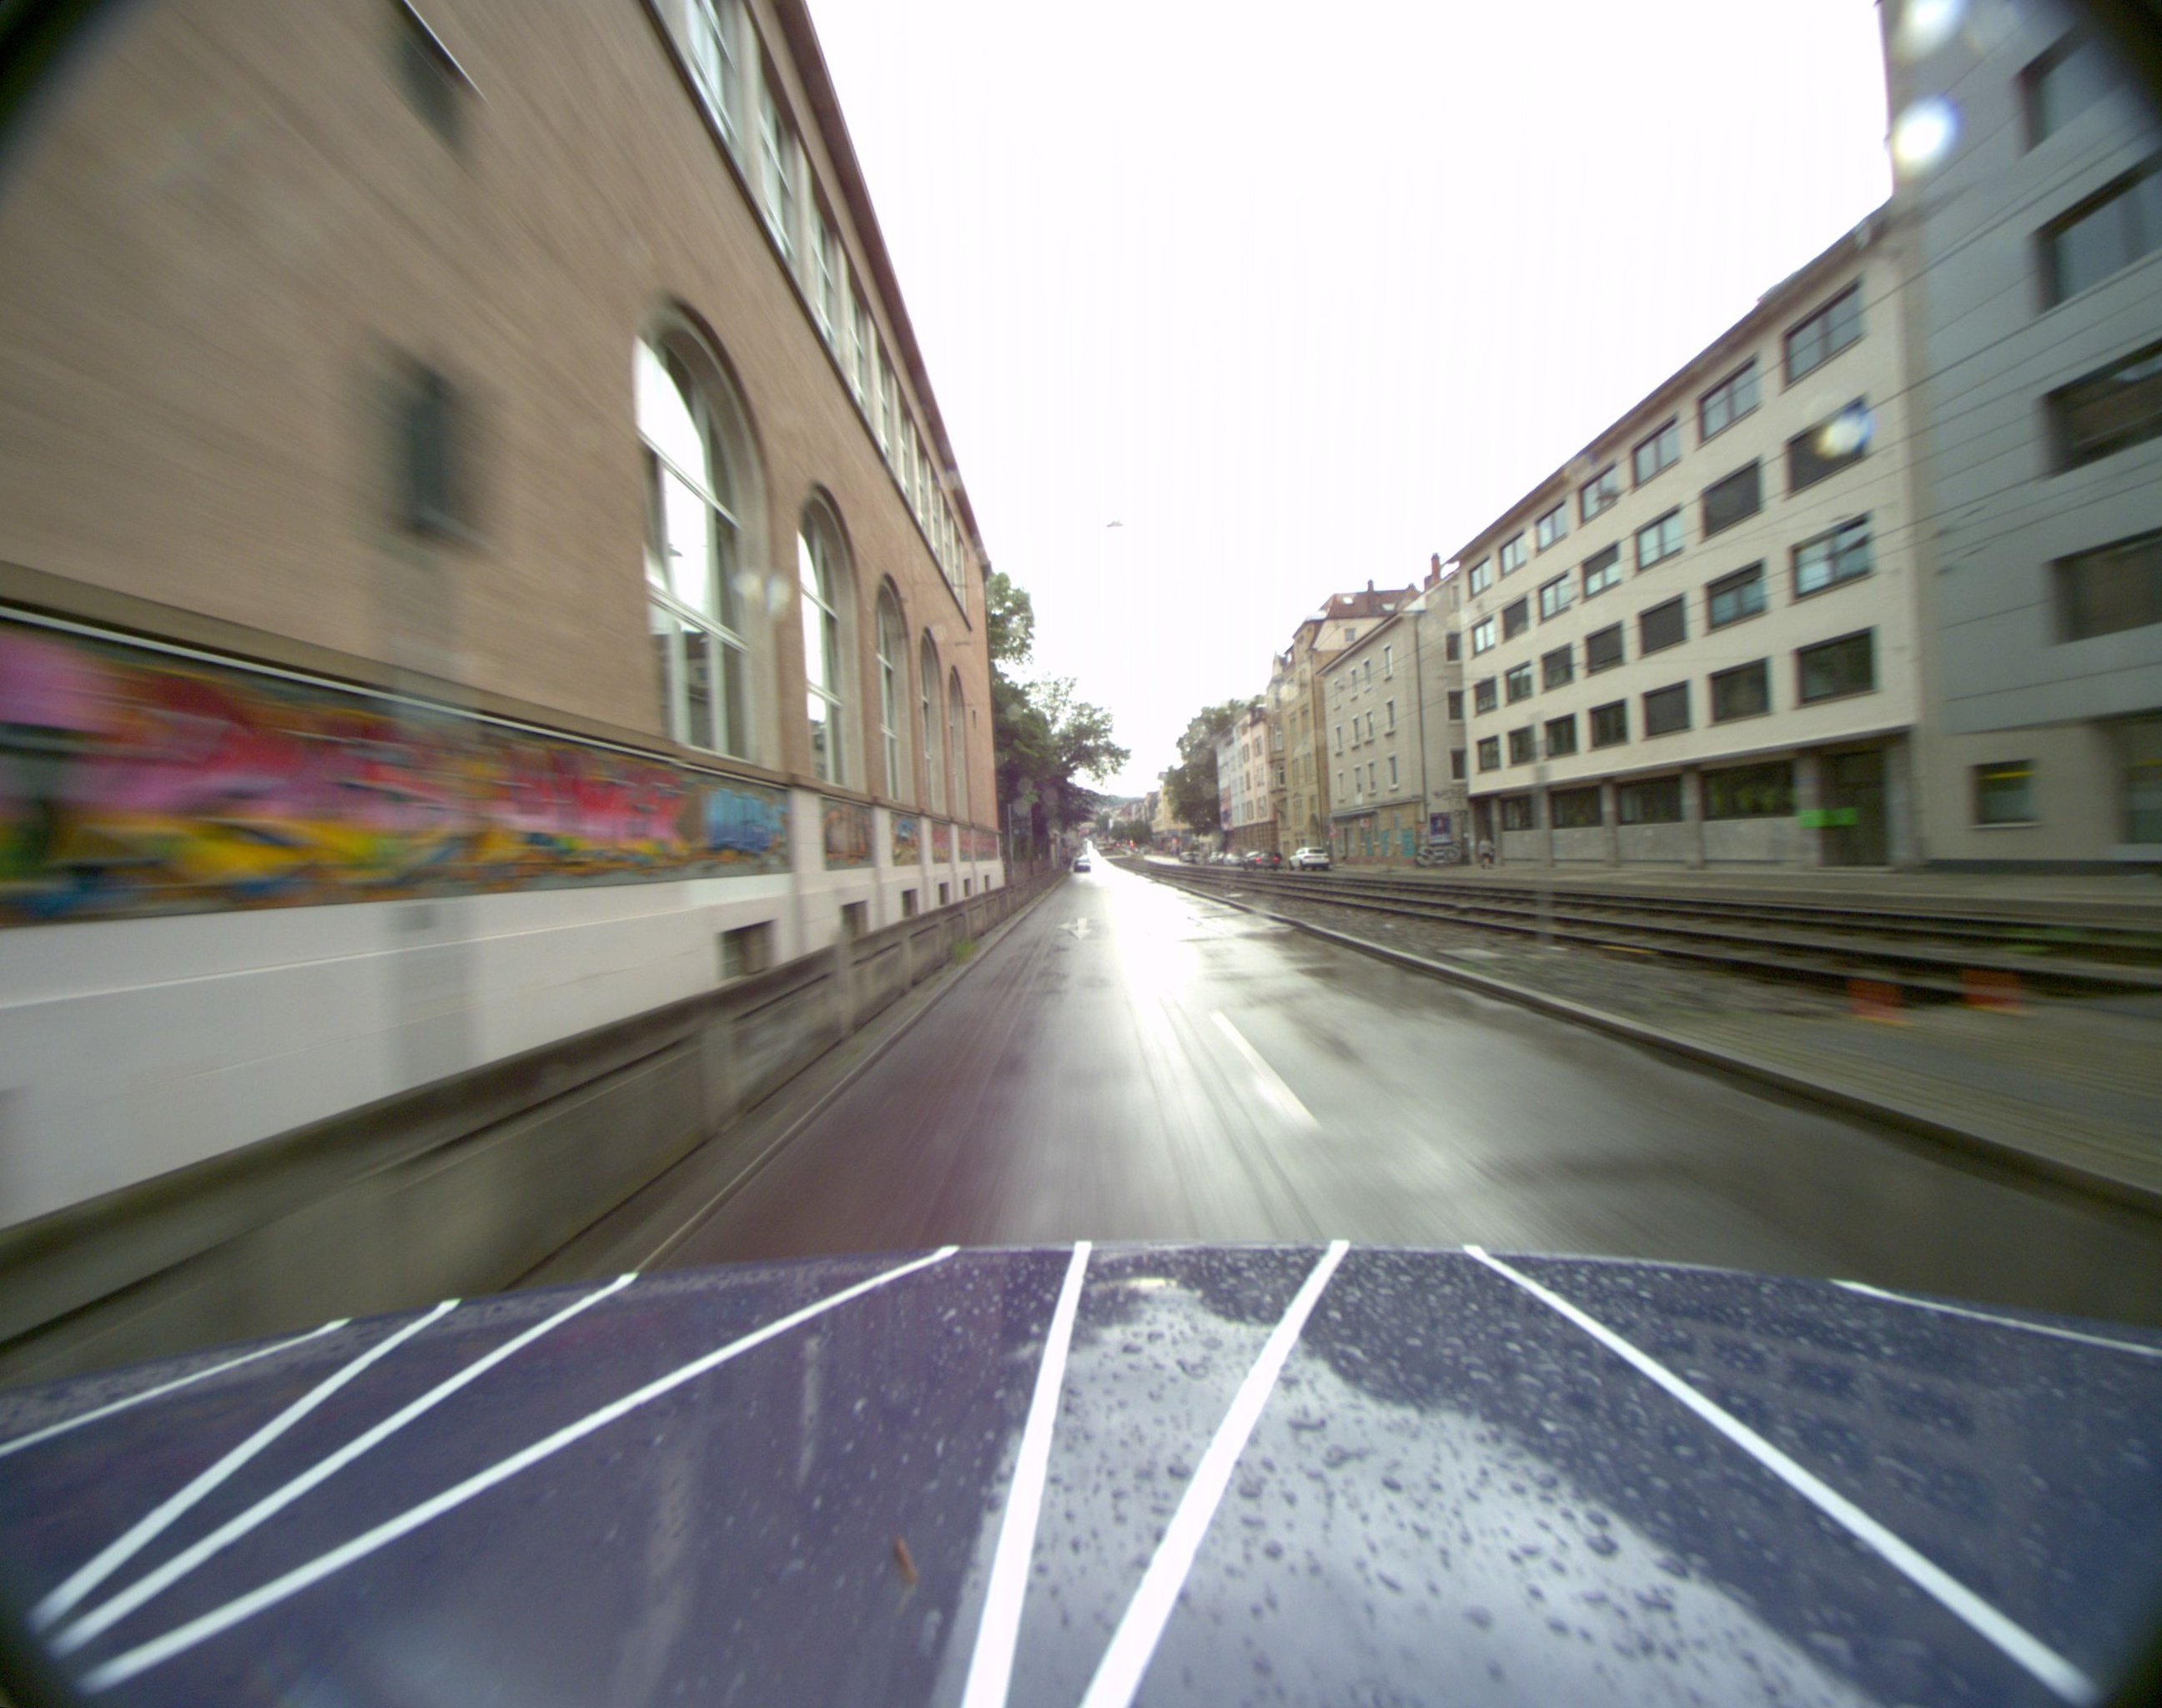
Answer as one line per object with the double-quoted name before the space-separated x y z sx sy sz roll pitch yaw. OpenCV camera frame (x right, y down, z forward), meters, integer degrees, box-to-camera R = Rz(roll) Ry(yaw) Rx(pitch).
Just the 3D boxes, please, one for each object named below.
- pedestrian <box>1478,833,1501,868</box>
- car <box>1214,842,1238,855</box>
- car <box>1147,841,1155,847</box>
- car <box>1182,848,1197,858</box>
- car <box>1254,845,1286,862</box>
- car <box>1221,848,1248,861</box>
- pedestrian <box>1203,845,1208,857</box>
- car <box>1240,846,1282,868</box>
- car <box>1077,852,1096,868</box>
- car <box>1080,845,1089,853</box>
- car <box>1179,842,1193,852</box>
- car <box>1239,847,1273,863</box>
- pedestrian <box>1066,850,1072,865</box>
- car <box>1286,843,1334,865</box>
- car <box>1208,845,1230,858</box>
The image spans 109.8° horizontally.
"pedestrian" 19.674 -0.184 36.583 0.548 1.603 0.798 -6 1 3
"car" 16.655 -0.649 87.269 1.843 1.389 4.265 -1 1 -1
"car" 21.329 -2.926 232.347 1.998 1.674 4.000 -3 1 1
"car" 17.333 -0.226 121.291 1.842 1.532 4.228 -1 1 1
"car" 16.384 -0.080 65.877 1.741 1.447 4.170 0 1 0
"car" 16.550 0.057 81.913 1.998 1.389 5.022 0 1 1
"pedestrian" 19.511 -0.491 119.057 0.809 1.858 0.536 -2 1 4
"car" 13.222 0.216 56.068 1.945 1.527 4.347 0 1 -3
"car" 0.601 0.635 79.732 1.788 1.521 4.244 -3 1 1
"car" 0.813 -1.138 169.369 1.998 1.674 4.124 -3 1 1
"car" 17.422 -1.206 126.341 1.842 1.532 4.228 -1 1 1
"car" 16.410 0.046 71.391 1.998 1.447 5.021 0 1 0
"pedestrian" -1.523 0.487 99.044 0.716 1.879 0.599 -3 1 -1
"car" 16.264 -0.010 54.256 1.998 1.527 4.748 0 1 0
"car" 16.831 -0.318 93.021 1.843 1.596 4.227 -1 1 -1
